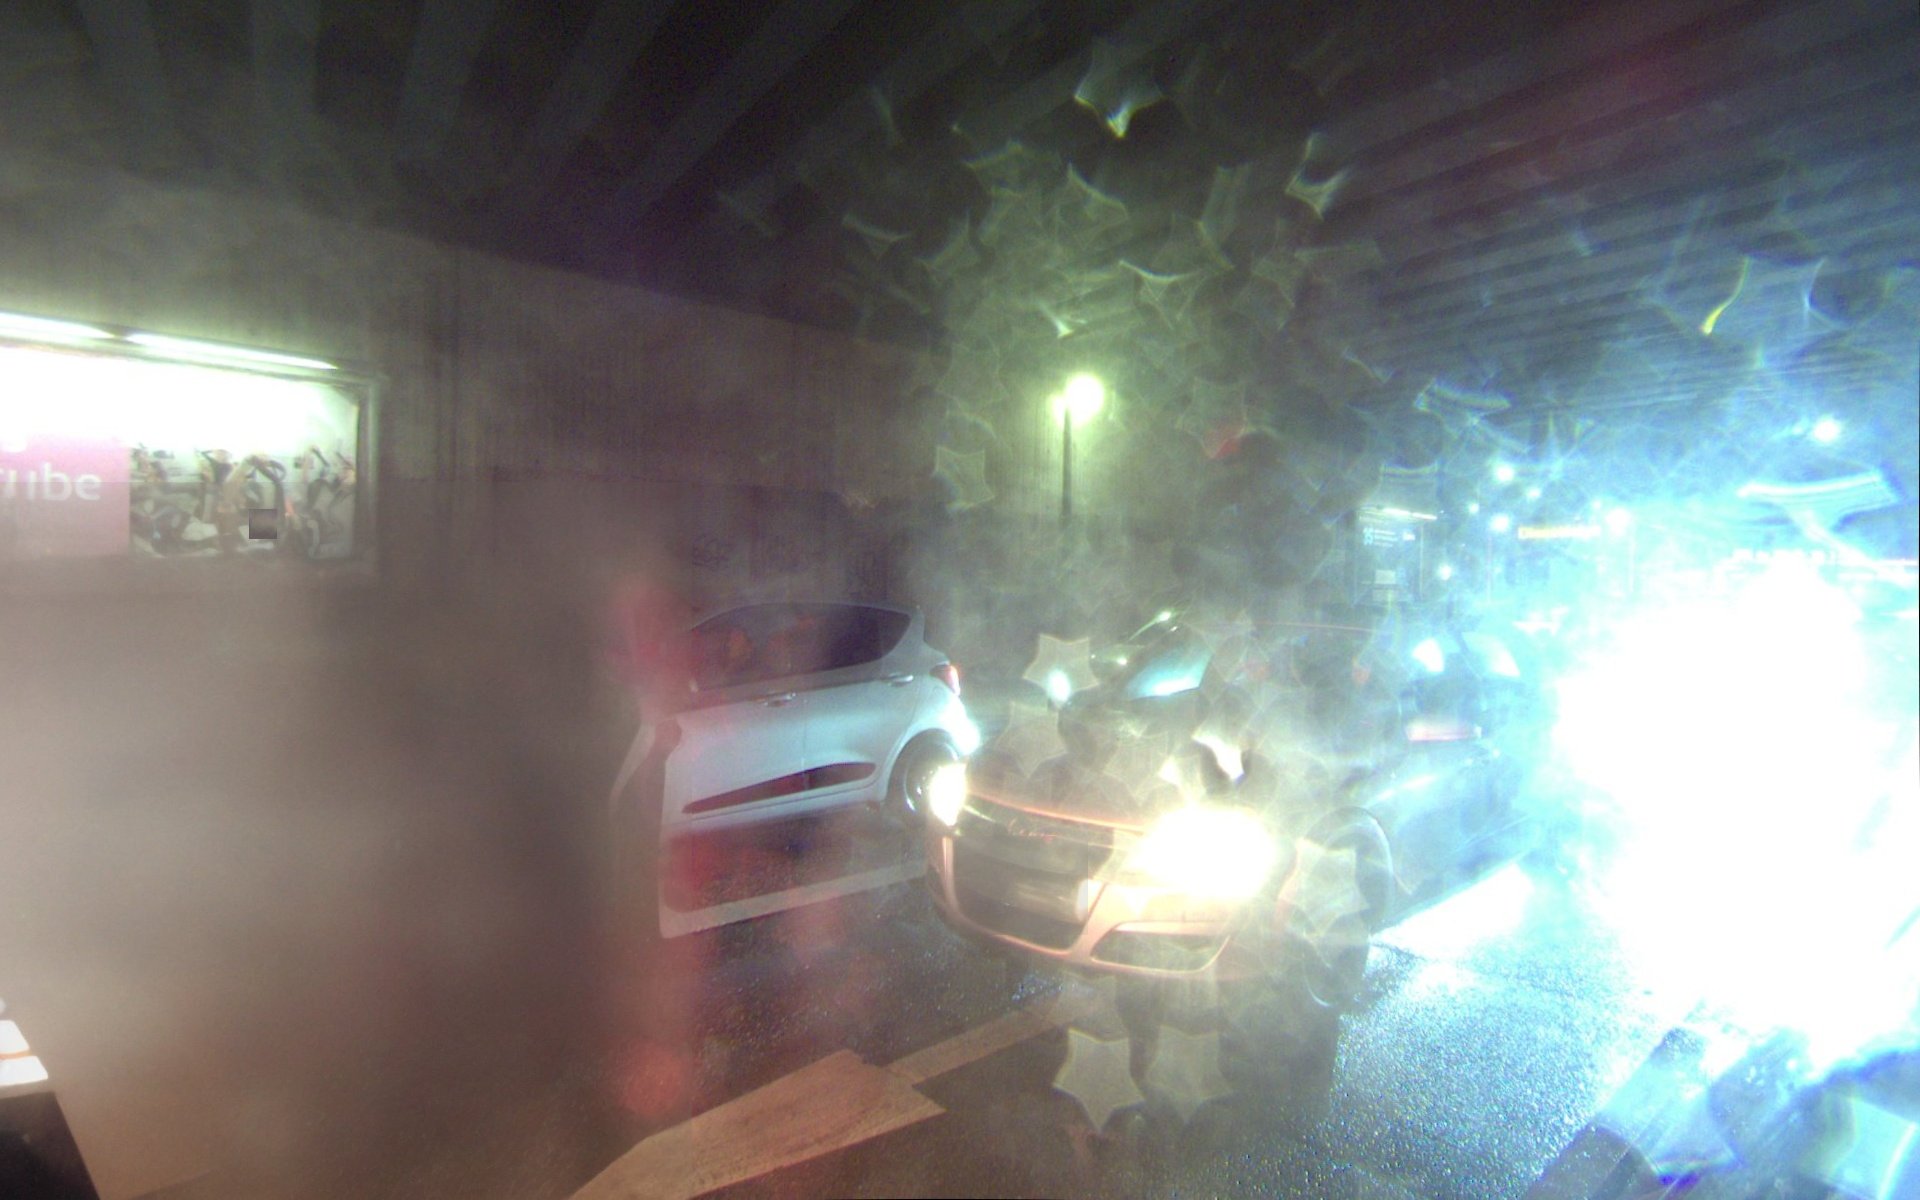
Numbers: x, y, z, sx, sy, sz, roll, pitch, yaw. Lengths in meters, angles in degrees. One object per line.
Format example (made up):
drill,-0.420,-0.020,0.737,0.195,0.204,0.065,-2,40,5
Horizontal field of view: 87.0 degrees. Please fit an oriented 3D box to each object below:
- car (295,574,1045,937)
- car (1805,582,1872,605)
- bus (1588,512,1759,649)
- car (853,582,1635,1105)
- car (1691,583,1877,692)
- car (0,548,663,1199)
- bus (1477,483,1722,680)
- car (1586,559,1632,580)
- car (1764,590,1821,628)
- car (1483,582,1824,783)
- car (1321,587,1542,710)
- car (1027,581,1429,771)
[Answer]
car,-1.520,0.609,6.210,4.091,1.464,1.723,-1,3,-42
car,61.146,-0.484,70.541,1.805,1.482,4.403,0,1,16
bus,20.374,-0.550,28.586,2.733,3.278,9.551,1,1,43
car,1.646,0.657,4.876,4.091,1.464,1.723,-1,2,-42
car,13.223,0.494,16.164,3.906,1.481,1.696,-1,3,-42
car,-2.694,0.658,0.980,4.308,1.464,1.723,-1,3,-42
bus,13.920,-0.399,21.546,2.733,3.318,9.551,1,1,43
car,46.336,-2.151,72.328,1.685,1.407,3.979,0,1,17
car,37.089,0.341,45.166,1.716,1.505,4.107,3,3,37
car,6.719,0.624,9.629,4.091,1.506,1.722,-1,-2,-42
car,7.144,0.604,15.135,1.721,1.505,4.096,3,3,44
car,2.951,0.582,10.441,4.705,1.505,1.723,-1,2,-42
